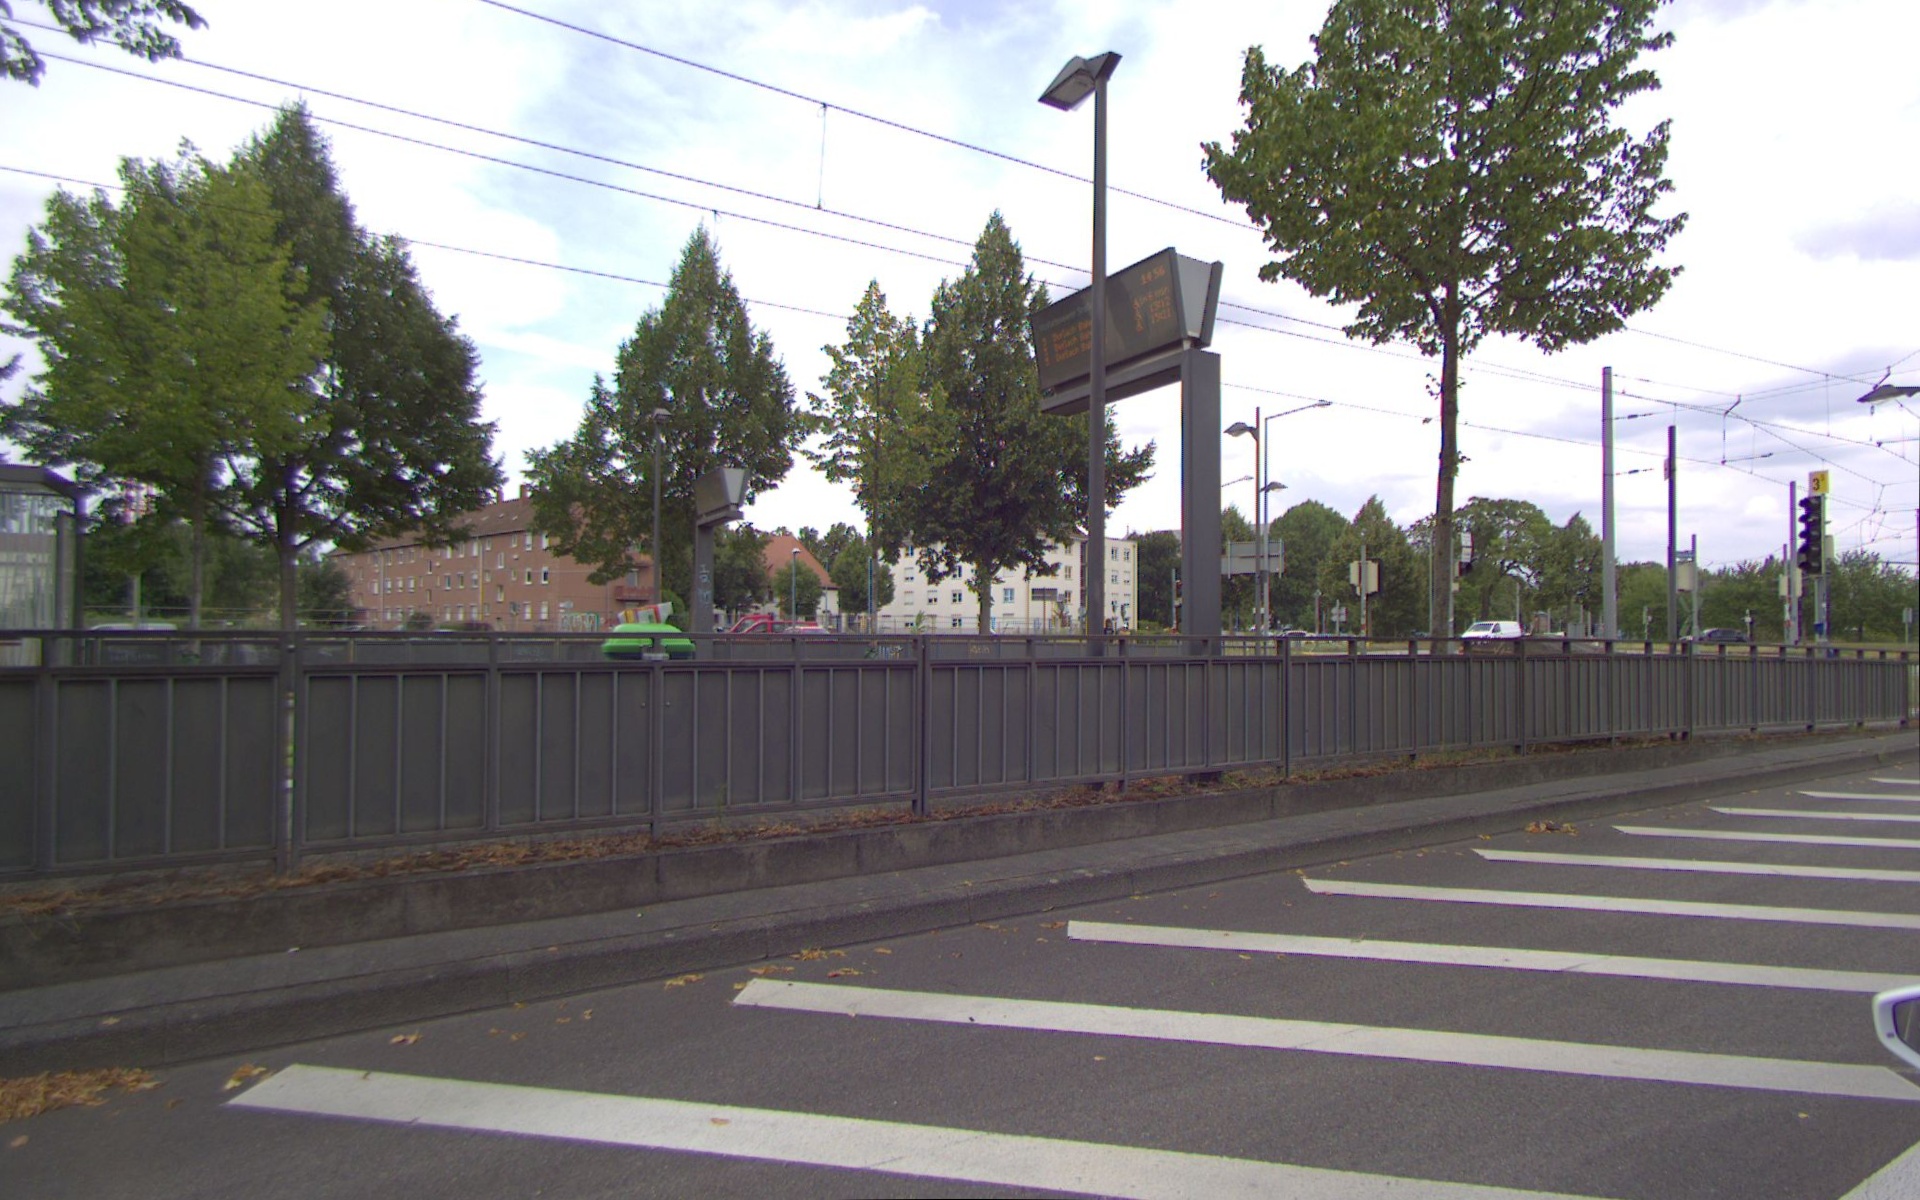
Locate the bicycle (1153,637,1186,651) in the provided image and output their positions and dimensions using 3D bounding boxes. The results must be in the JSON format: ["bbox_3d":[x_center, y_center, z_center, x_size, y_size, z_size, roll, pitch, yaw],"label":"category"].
[{"bbox_3d":[17.149,3.597,82.315,2.669,1.144,0.805,-1,-2,42],"label":"bicycle"}]

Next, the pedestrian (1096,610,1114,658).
[{"bbox_3d":[5.713,1.348,39.539,0.636,1.874,0.492,0,-1,20],"label":"pedestrian"}]

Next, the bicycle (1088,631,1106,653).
[{"bbox_3d":[7.834,2.391,57.327,0.600,1.151,2.566,2,0,16],"label":"bicycle"}]

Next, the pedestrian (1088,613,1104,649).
[{"bbox_3d":[7.775,1.747,57.355,0.783,2.040,0.910,0,-1,16],"label":"pedestrian"}]

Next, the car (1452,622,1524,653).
[{"bbox_3d":[35.302,2.463,67.132,4.942,2.040,1.984,1,-1,-31],"label":"car"}]

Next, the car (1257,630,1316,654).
[{"bbox_3d":[25.131,3.245,77.462,3.920,1.663,2.000,2,1,2],"label":"car"}]

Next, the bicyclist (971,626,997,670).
[{"bbox_3d":[1.040,2.065,43.117,0.776,1.859,0.823,1,-1,-35],"label":"bicyclist"}]
